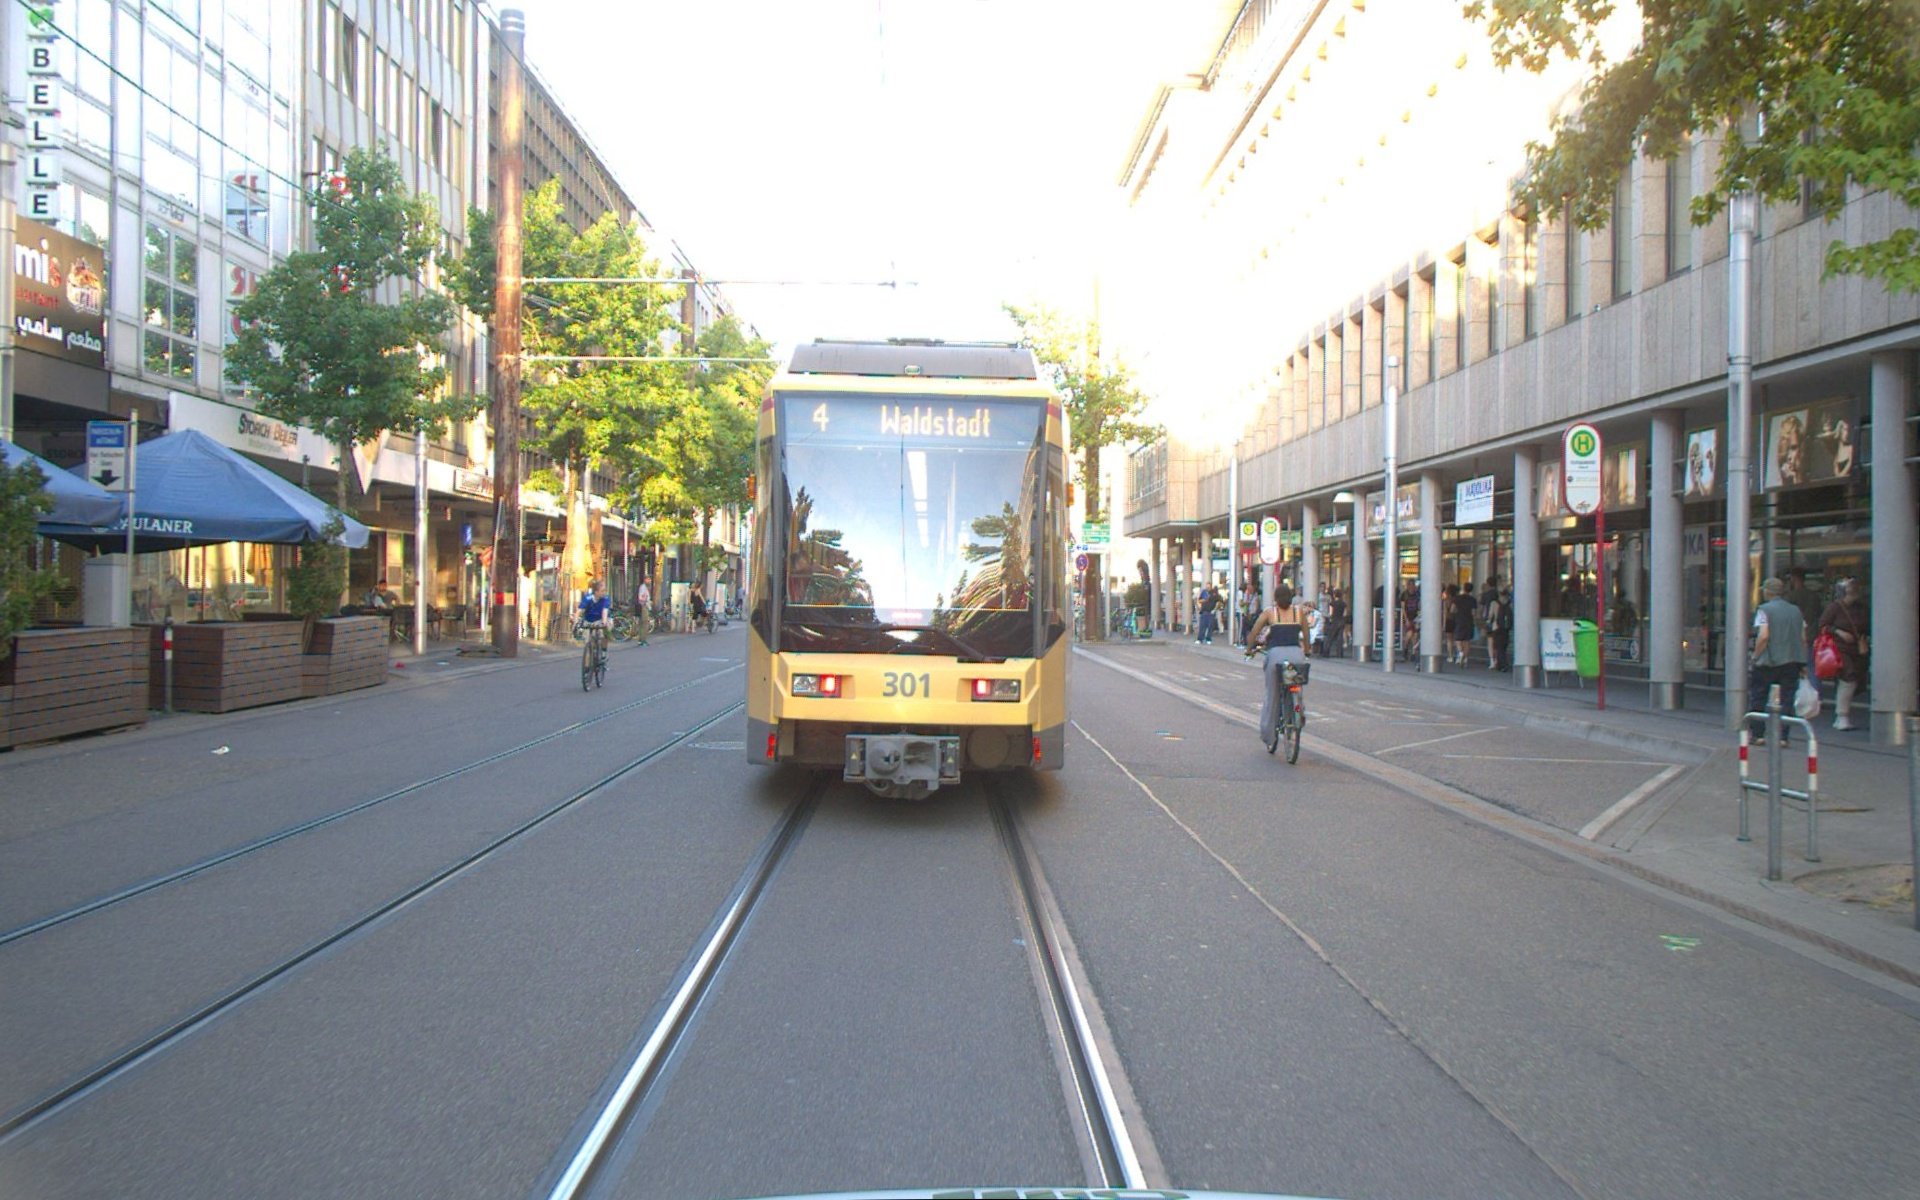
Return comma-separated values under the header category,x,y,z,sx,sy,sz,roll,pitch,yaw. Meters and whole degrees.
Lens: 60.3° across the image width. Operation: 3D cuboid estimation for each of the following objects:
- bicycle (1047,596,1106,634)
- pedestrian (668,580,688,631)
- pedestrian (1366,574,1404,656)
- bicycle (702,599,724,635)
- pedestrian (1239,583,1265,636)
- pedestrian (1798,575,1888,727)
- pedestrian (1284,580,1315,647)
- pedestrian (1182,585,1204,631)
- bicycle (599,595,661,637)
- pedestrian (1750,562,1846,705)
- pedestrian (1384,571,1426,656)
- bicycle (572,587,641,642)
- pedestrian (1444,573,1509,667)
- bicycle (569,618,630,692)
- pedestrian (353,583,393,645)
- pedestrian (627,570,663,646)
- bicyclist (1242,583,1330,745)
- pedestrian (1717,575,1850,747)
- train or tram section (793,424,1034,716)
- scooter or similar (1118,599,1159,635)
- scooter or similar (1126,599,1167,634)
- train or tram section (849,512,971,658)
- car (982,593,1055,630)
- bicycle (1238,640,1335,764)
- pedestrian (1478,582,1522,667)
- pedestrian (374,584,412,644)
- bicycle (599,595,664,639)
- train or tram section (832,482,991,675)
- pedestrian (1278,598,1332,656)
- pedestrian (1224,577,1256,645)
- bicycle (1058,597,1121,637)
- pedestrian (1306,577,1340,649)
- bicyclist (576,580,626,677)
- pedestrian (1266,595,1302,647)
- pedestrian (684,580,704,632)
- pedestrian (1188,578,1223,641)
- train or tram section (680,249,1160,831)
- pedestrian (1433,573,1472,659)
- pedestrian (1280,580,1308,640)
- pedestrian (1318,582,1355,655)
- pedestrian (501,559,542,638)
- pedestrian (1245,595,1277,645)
category,x,y,z,sx,sy,sz,roll,pitch,yaw
bicycle,4.752,0.618,67.475,2.283,1.497,0.790,1,-1,-5
pedestrian,-9.637,0.194,56.551,0.563,1.716,0.551,3,-1,-11
pedestrian,9.968,0.345,38.817,0.687,1.871,0.705,-1,1,-1
bicycle,-8.285,0.575,55.505,0.600,1.146,2.248,3,-1,-6
pedestrian,9.522,0.309,54.025,0.687,1.714,0.680,-1,1,-1
pedestrian,9.855,0.556,18.476,0.584,1.644,0.755,-1,1,-1
pedestrian,9.779,0.374,47.630,0.687,1.871,0.829,-1,1,-1
pedestrian,8.793,0.290,62.364,0.687,1.714,0.680,-1,1,-1
bicycle,-9.861,0.487,49.426,1.699,1.146,0.563,3,-1,-5
pedestrian,11.272,0.432,22.265,0.816,1.868,0.944,-1,1,-1
pedestrian,10.017,0.300,37.223,0.687,1.871,0.829,-1,1,-1
bicycle,-9.671,0.398,45.245,1.766,1.384,0.658,3,-1,-14
pedestrian,10.825,0.402,34.680,1.032,1.909,0.929,-1,1,-1
bicycle,-5.450,0.816,25.068,0.628,1.040,1.588,2,0,-4
pedestrian,-13.009,0.315,36.690,0.562,1.342,0.725,3,-1,-1
pedestrian,-8.077,0.211,42.425,0.736,1.912,0.575,3,-1,-5
bicyclist,3.236,0.624,16.459,0.711,1.553,0.734,2,-1,3
pedestrian,8.032,0.576,16.156,0.860,1.609,0.755,2,1,-2
train or tram section,-0.740,-0.381,25.840,2.947,3.585,10.398,1,0,-2
scooter or similar,6.362,0.594,58.883,1.354,1.272,0.555,0,-1,-9
scooter or similar,6.542,0.572,57.996,1.356,1.232,0.513,0,-1,-15
train or tram section,-1.434,-0.390,47.117,2.983,3.585,10.527,2,0,-2
car,2.729,0.549,76.330,1.612,1.622,3.910,1,-1,31
bicycle,3.232,0.982,16.528,0.642,1.079,2.058,2,0,3
pedestrian,10.783,0.482,33.050,0.584,1.644,0.829,-1,1,-1
pedestrian,-13.000,0.319,37.910,0.562,1.342,0.725,3,-1,-1
bicycle,-9.322,0.478,47.007,1.701,1.146,0.612,3,-1,-8
train or tram section,-1.082,-0.408,36.462,2.943,3.585,10.841,1,0,-2
pedestrian,8.368,0.657,40.135,1.089,1.351,0.926,-1,0,-1
pedestrian,7.687,0.303,45.450,0.733,1.813,0.891,1,-1,2
bicycle,4.968,0.651,63.389,2.283,1.497,0.790,1,-1,-5
pedestrian,9.689,0.345,44.140,0.687,1.871,0.829,-1,1,-1
bicyclist,-5.434,0.434,25.047,0.608,1.441,0.699,1,-1,-4
pedestrian,8.603,0.558,43.910,0.789,1.351,0.626,-1,1,-1
pedestrian,-9.011,0.194,55.977,0.540,1.716,0.575,3,-1,-5
pedestrian,7.222,0.272,48.644,0.870,1.813,0.751,1,-1,-3
train or tram section,-0.407,-0.360,15.466,2.956,3.585,10.366,1,0,-2
pedestrian,10.997,0.344,36.952,0.584,1.871,0.829,-1,1,-1
pedestrian,10.518,0.309,52.100,0.687,1.871,0.829,-1,1,-1
pedestrian,8.821,0.428,38.785,0.687,1.666,0.645,-1,1,-1
pedestrian,-11.603,-0.027,43.787,0.831,2.049,0.921,1,-1,-1
pedestrian,8.321,0.549,45.711,0.724,1.351,0.720,-1,1,-1
